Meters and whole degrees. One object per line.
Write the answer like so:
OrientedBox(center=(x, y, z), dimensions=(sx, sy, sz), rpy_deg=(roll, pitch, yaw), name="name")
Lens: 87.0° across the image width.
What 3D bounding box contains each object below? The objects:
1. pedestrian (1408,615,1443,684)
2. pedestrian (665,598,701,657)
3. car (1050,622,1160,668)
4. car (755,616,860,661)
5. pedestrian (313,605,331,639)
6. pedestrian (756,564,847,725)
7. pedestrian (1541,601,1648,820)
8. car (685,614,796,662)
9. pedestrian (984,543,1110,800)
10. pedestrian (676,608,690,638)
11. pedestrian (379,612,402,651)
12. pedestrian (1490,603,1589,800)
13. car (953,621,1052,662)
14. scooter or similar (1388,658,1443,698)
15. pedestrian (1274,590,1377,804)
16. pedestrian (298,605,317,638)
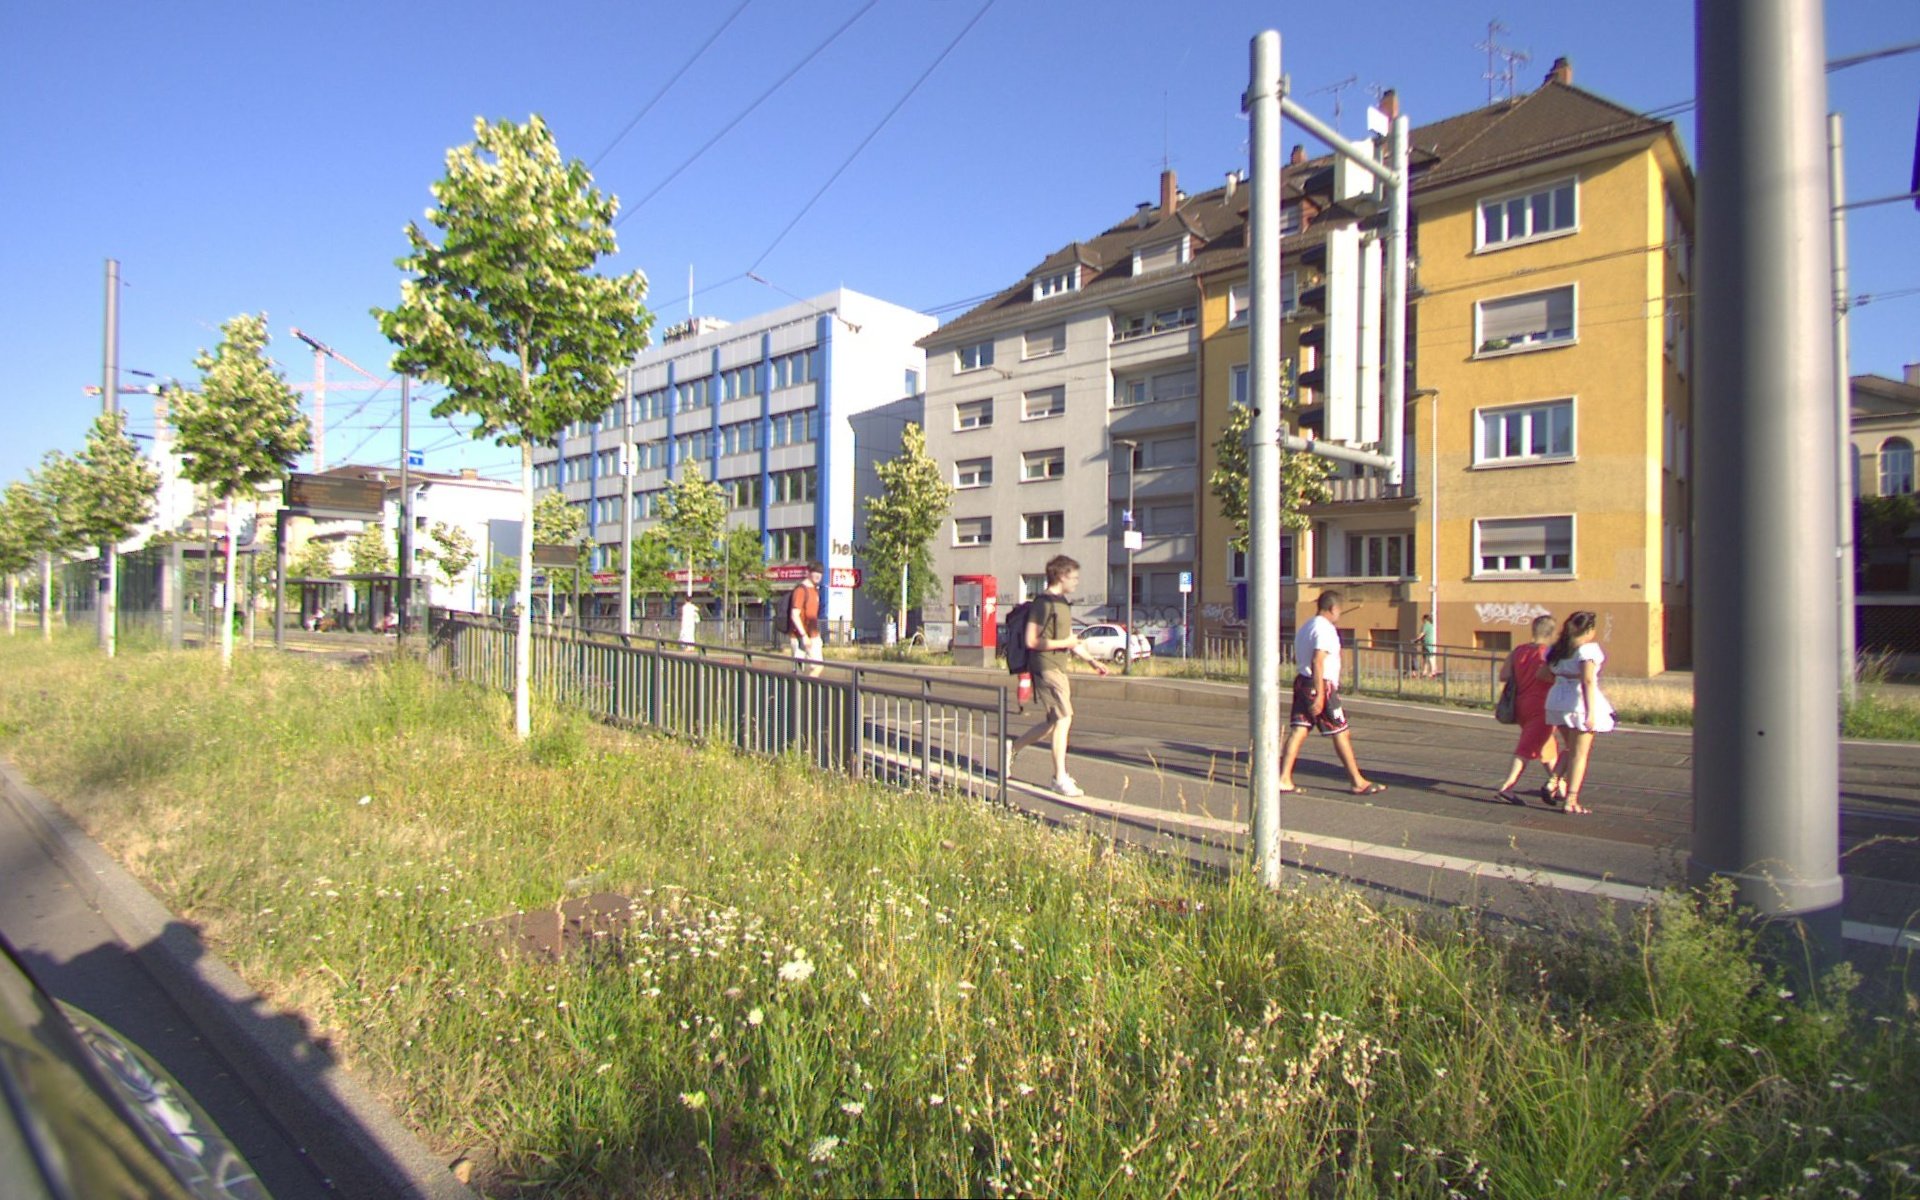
OrientedBox(center=(12.942, 1.352, 28.119), dimensions=(0.553, 1.861, 0.724), rpy_deg=(-1, 0, -42), name="pedestrian")
OrientedBox(center=(-8.059, 0.777, 29.436), dimensions=(0.620, 1.685, 0.776), rpy_deg=(0, 0, 44), name="pedestrian")
OrientedBox(center=(5.389, 1.637, 37.881), dimensions=(3.672, 1.519, 1.861), rpy_deg=(0, 0, 41), name="car")
OrientedBox(center=(-5.798, 1.419, 38.258), dimensions=(3.941, 1.519, 1.861), rpy_deg=(0, 0, 41), name="car")
OrientedBox(center=(-32.414, 1.111, 51.428), dimensions=(0.650, 1.705, 0.773), rpy_deg=(-1, 0, -43), name="pedestrian")
OrientedBox(center=(-1.767, 0.470, 11.283), dimensions=(0.620, 1.711, 0.776), rpy_deg=(0, 0, 44), name="pedestrian")
OrientedBox(center=(4.496, 0.744, 7.204), dimensions=(0.521, 1.467, 0.634), rpy_deg=(0, 0, 22), name="pedestrian")
OrientedBox(center=(-7.780, 1.290, 35.684), dimensions=(3.941, 1.519, 1.861), rpy_deg=(0, 0, 41), name="car")
OrientedBox(center=(0.681, 0.517, 7.876), dimensions=(0.620, 1.878, 0.776), rpy_deg=(0, 0, 44), name="pedestrian")
OrientedBox(center=(-16.620, 1.351, 60.687), dimensions=(0.636, 1.759, 0.599), rpy_deg=(-1, 0, -42), name="pedestrian")
OrientedBox(center=(-25.145, 1.369, 44.659), dimensions=(0.771, 1.705, 0.651), rpy_deg=(0, 0, 39), name="pedestrian")
OrientedBox(center=(4.453, 0.749, 7.812), dimensions=(0.520, 1.442, 0.635), rpy_deg=(0, 0, 17), name="pedestrian")
OrientedBox(center=(1.689, 1.649, 41.035), dimensions=(3.672, 1.519, 1.861), rpy_deg=(0, 0, 41), name="car")
OrientedBox(center=(12.748, 2.175, 28.367), dimensions=(0.480, 1.013, 1.331), rpy_deg=(-1, 0, -42), name="scooter or similar")
OrientedBox(center=(2.858, 0.711, 7.893), dimensions=(0.617, 1.560, 0.780), rpy_deg=(-1, -1, 31), name="pedestrian")
OrientedBox(center=(-34.138, 1.116, 52.960), dimensions=(0.772, 1.705, 0.651), rpy_deg=(0, 0, 44), name="pedestrian")
